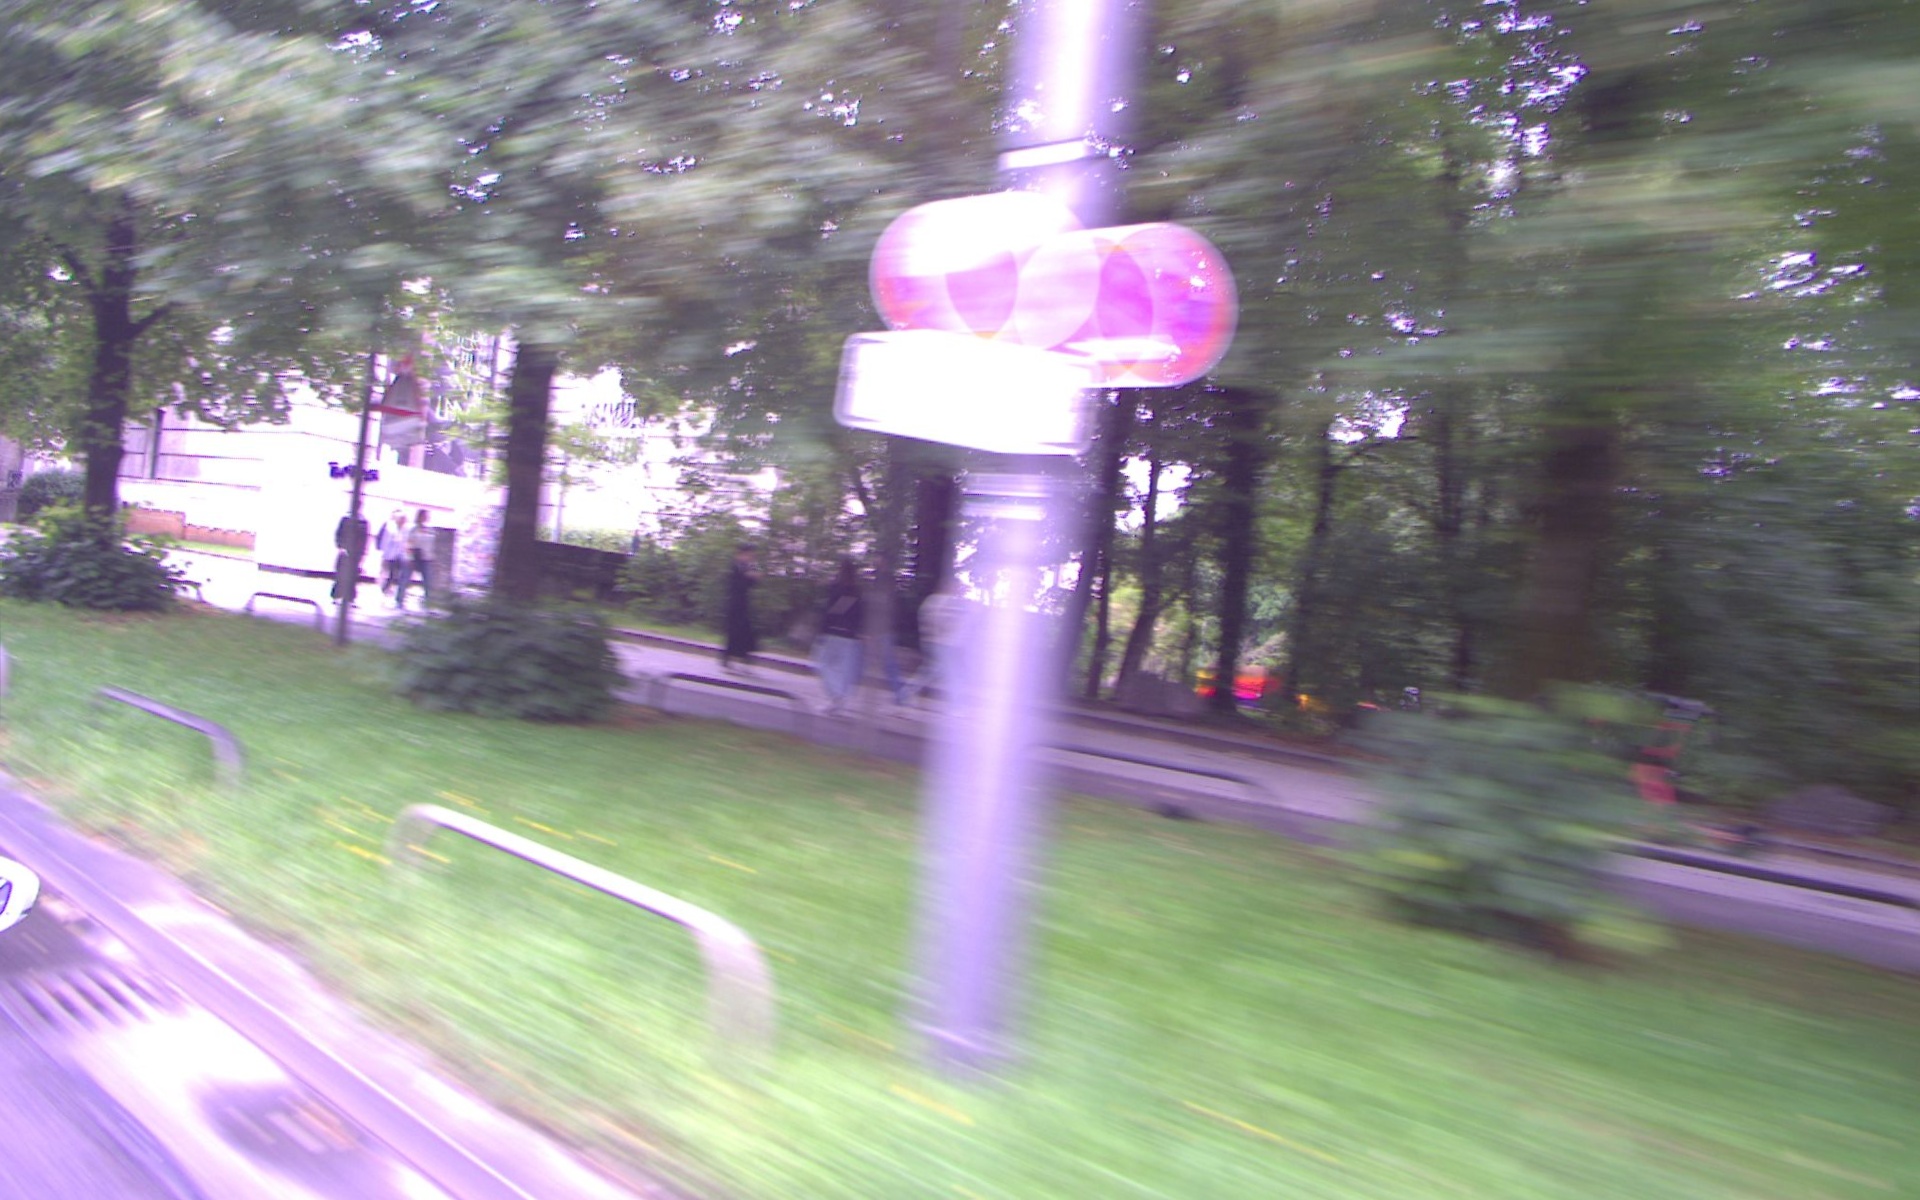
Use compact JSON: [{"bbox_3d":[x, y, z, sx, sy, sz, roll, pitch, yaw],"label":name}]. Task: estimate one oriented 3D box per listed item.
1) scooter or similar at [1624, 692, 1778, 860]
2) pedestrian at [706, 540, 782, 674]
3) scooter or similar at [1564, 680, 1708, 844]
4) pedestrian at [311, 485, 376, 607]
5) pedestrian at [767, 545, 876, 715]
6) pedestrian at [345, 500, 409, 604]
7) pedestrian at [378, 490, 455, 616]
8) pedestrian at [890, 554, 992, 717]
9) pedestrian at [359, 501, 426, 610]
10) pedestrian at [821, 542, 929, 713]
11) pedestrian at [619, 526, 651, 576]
[{"bbox_3d":[6.252,1.463,8.529,0.301,1.239,0.923,7,0,-19],"label":"scooter or similar"},{"bbox_3d":[-2.886,0.098,13.451,0.544,1.695,0.580,7,-1,34],"label":"pedestrian"},{"bbox_3d":[5.831,1.373,8.718,0.301,1.239,0.923,7,0,-19],"label":"scooter or similar"},{"bbox_3d":[-10.744,-0.939,17.539,0.712,2.040,0.594,7,3,31],"label":"pedestrian"},{"bbox_3d":[-1.478,0.325,10.740,0.742,1.701,0.608,7,-1,35],"label":"pedestrian"},{"bbox_3d":[-10.838,-0.884,18.706,0.710,1.833,0.596,6,2,7],"label":"pedestrian"},{"bbox_3d":[-9.219,-0.793,17.073,0.764,2.041,0.763,7,3,31],"label":"pedestrian"},{"bbox_3d":[-0.223,0.421,11.864,0.769,1.795,0.631,7,-1,35],"label":"pedestrian"},{"bbox_3d":[-10.111,-0.781,17.926,0.710,1.833,0.596,6,2,7],"label":"pedestrian"},{"bbox_3d":[-0.942,0.303,11.190,0.784,1.784,0.608,7,-1,35],"label":"pedestrian"},{"bbox_3d":[-10.921,-1.638,33.791,0.758,1.576,0.488,7,-1,32],"label":"pedestrian"}]
